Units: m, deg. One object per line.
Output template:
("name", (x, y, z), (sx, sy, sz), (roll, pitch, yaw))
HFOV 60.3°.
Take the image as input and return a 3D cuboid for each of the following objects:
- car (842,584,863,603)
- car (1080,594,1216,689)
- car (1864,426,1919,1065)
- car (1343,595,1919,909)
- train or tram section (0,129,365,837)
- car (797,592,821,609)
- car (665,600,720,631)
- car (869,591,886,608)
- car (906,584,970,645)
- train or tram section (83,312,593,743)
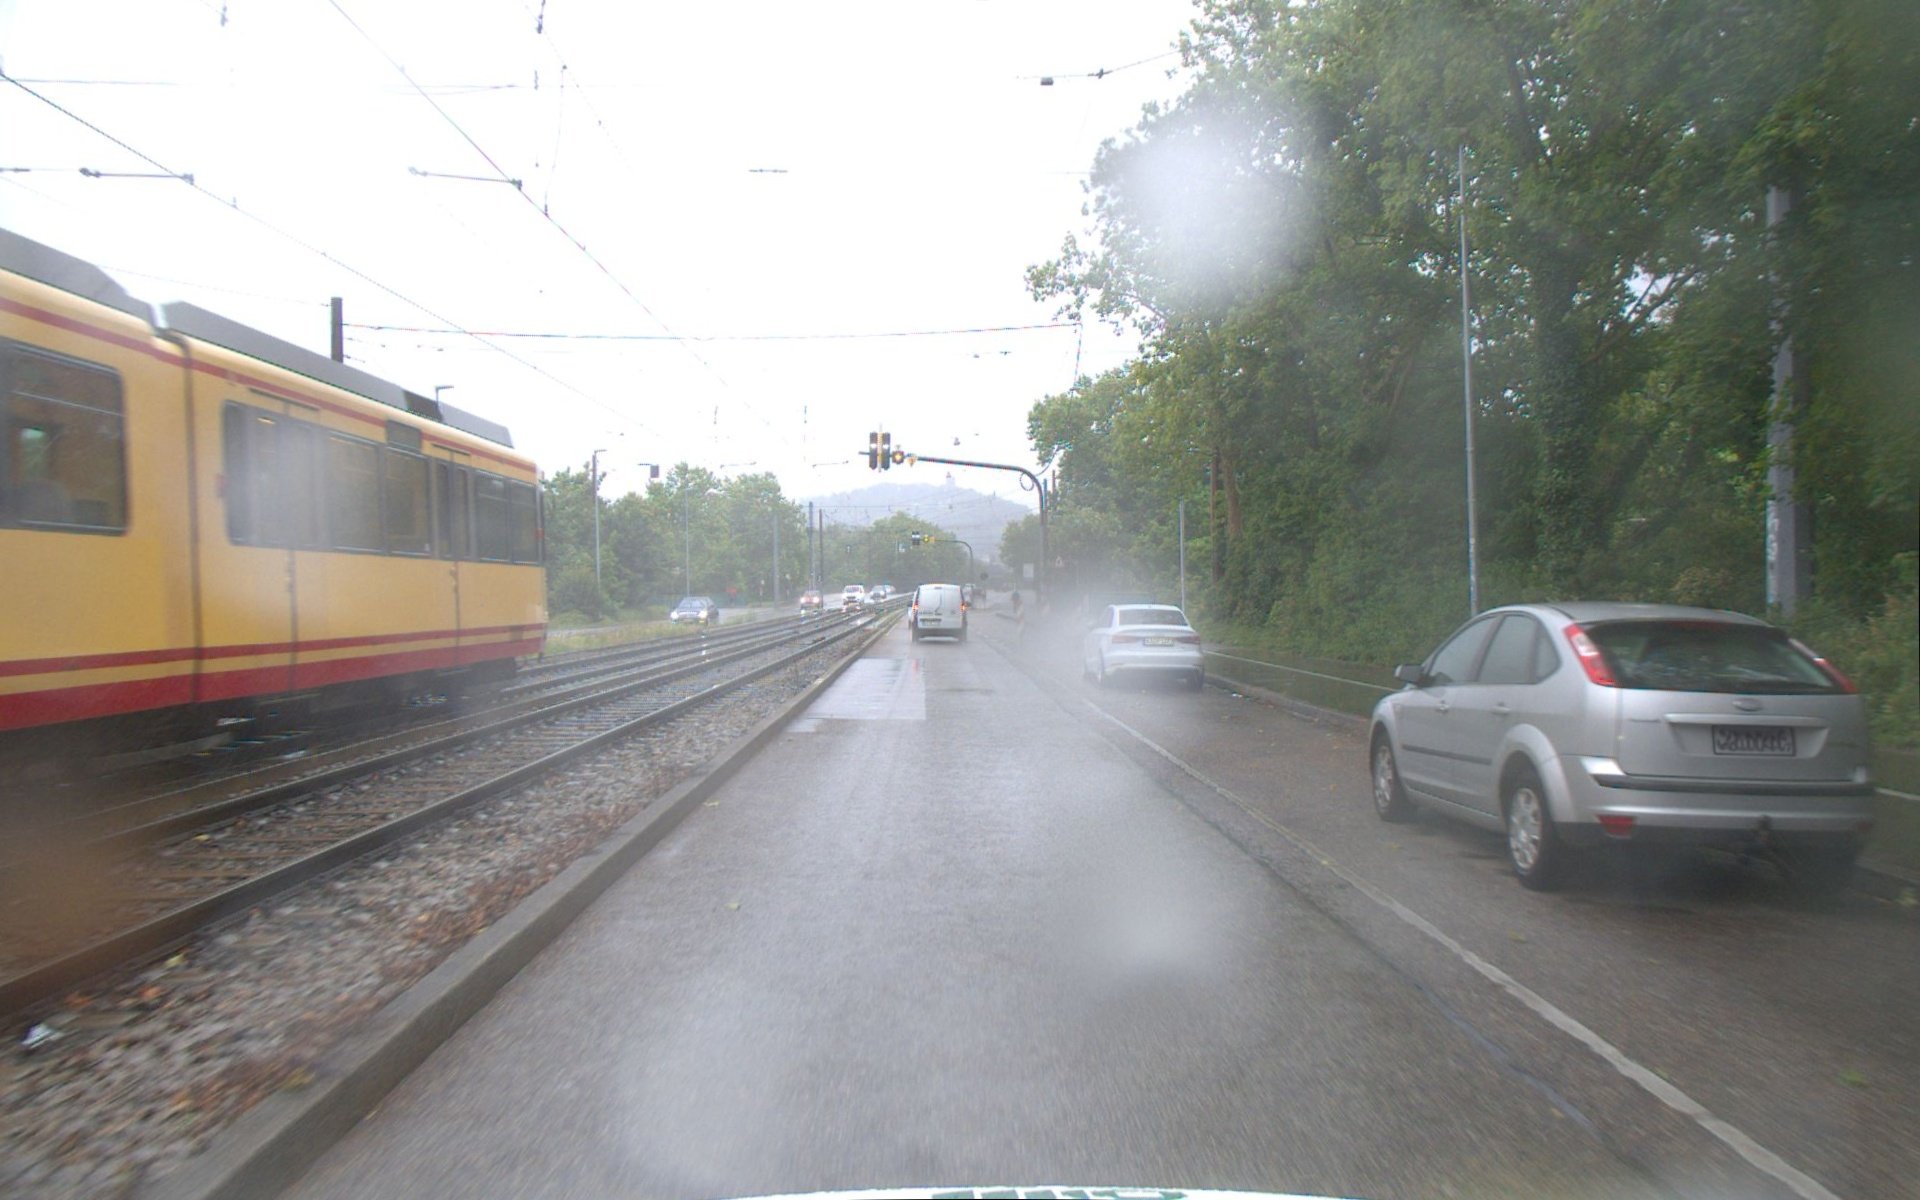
("car", (-11.515, -0.670, 177.278), (1.953, 2.049, 4.000), (0, -1, 0))
("car", (3.246, 0.675, 29.362), (1.782, 1.512, 4.479), (1, 0, -1))
("car", (4.049, 0.490, 3.147), (1.838, 2.049, 4.979), (1, 0, -1))
("car", (3.786, 0.745, 10.131), (1.776, 1.485, 4.344), (1, 0, -1))
("train or tram section", (-7.097, -0.701, 9.654), (2.749, 4.222, 13.016), (0, 0, -1))
("car", (-13.111, 0.003, 144.058), (1.782, 1.422, 3.999), (-1, 0, -1))
("car", (-13.245, 0.748, 82.269), (1.953, 1.429, 5.384), (-1, 0, -1))
("car", (-10.201, -0.045, 204.504), (1.953, 1.982, 4.000), (0, -1, 0))
("car", (-0.681, 0.437, 52.597), (1.953, 1.881, 4.000), (0, 0, 0))
("train or tram section", (-7.230, -0.668, 21.356), (2.753, 4.222, 10.267), (0, -1, 0))
